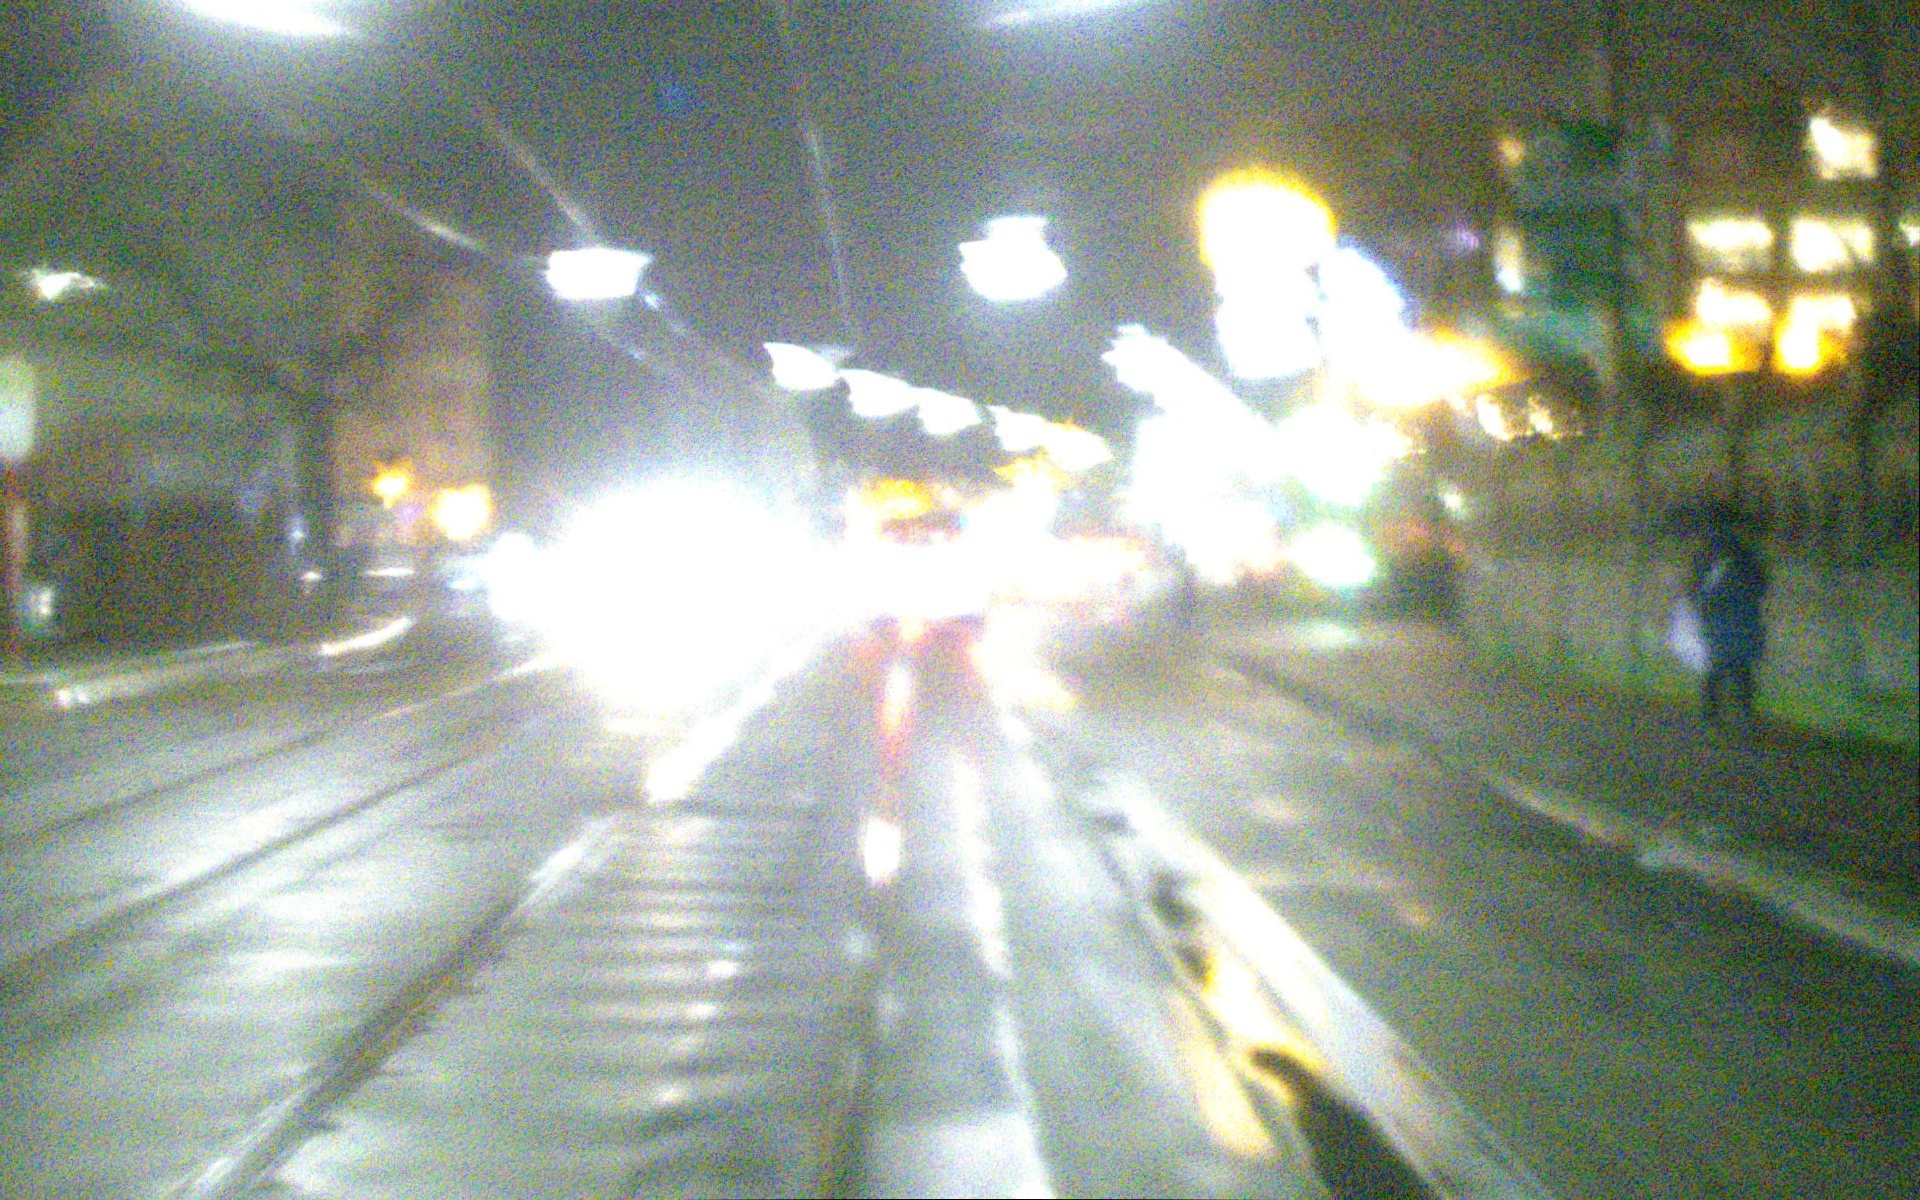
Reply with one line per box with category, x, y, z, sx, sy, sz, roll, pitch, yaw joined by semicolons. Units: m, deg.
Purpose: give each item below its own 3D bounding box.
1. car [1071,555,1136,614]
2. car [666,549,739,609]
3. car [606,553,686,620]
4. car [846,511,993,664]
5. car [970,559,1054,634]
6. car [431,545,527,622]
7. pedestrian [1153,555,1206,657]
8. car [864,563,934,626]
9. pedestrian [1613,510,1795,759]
car;4.962;-0.541;119.495;1.993;2.007;4.000;1;0;-1
car;-8.484;-0.694;113.390;2.319;1.925;4.964;1;0;-4
car;-8.310;-0.373;91.243;1.993;1.718;4.077;1;0;-4
car;-0.696;-0.216;55.642;2.244;2.353;4.394;1;0;-2
car;1.324;-0.101;85.531;2.016;1.809;4.000;1;0;2
car;-12.985;-0.458;93.086;1.993;2.007;4.000;1;0;0
pedestrian;3.883;0.101;60.794;0.778;1.770;0.693;1;0;17
car;-1.799;-0.173;100.579;1.993;1.809;4.000;1;0;-1
pedestrian;5.133;0.224;23.775;0.939;1.658;0.994;-2;1;-5
